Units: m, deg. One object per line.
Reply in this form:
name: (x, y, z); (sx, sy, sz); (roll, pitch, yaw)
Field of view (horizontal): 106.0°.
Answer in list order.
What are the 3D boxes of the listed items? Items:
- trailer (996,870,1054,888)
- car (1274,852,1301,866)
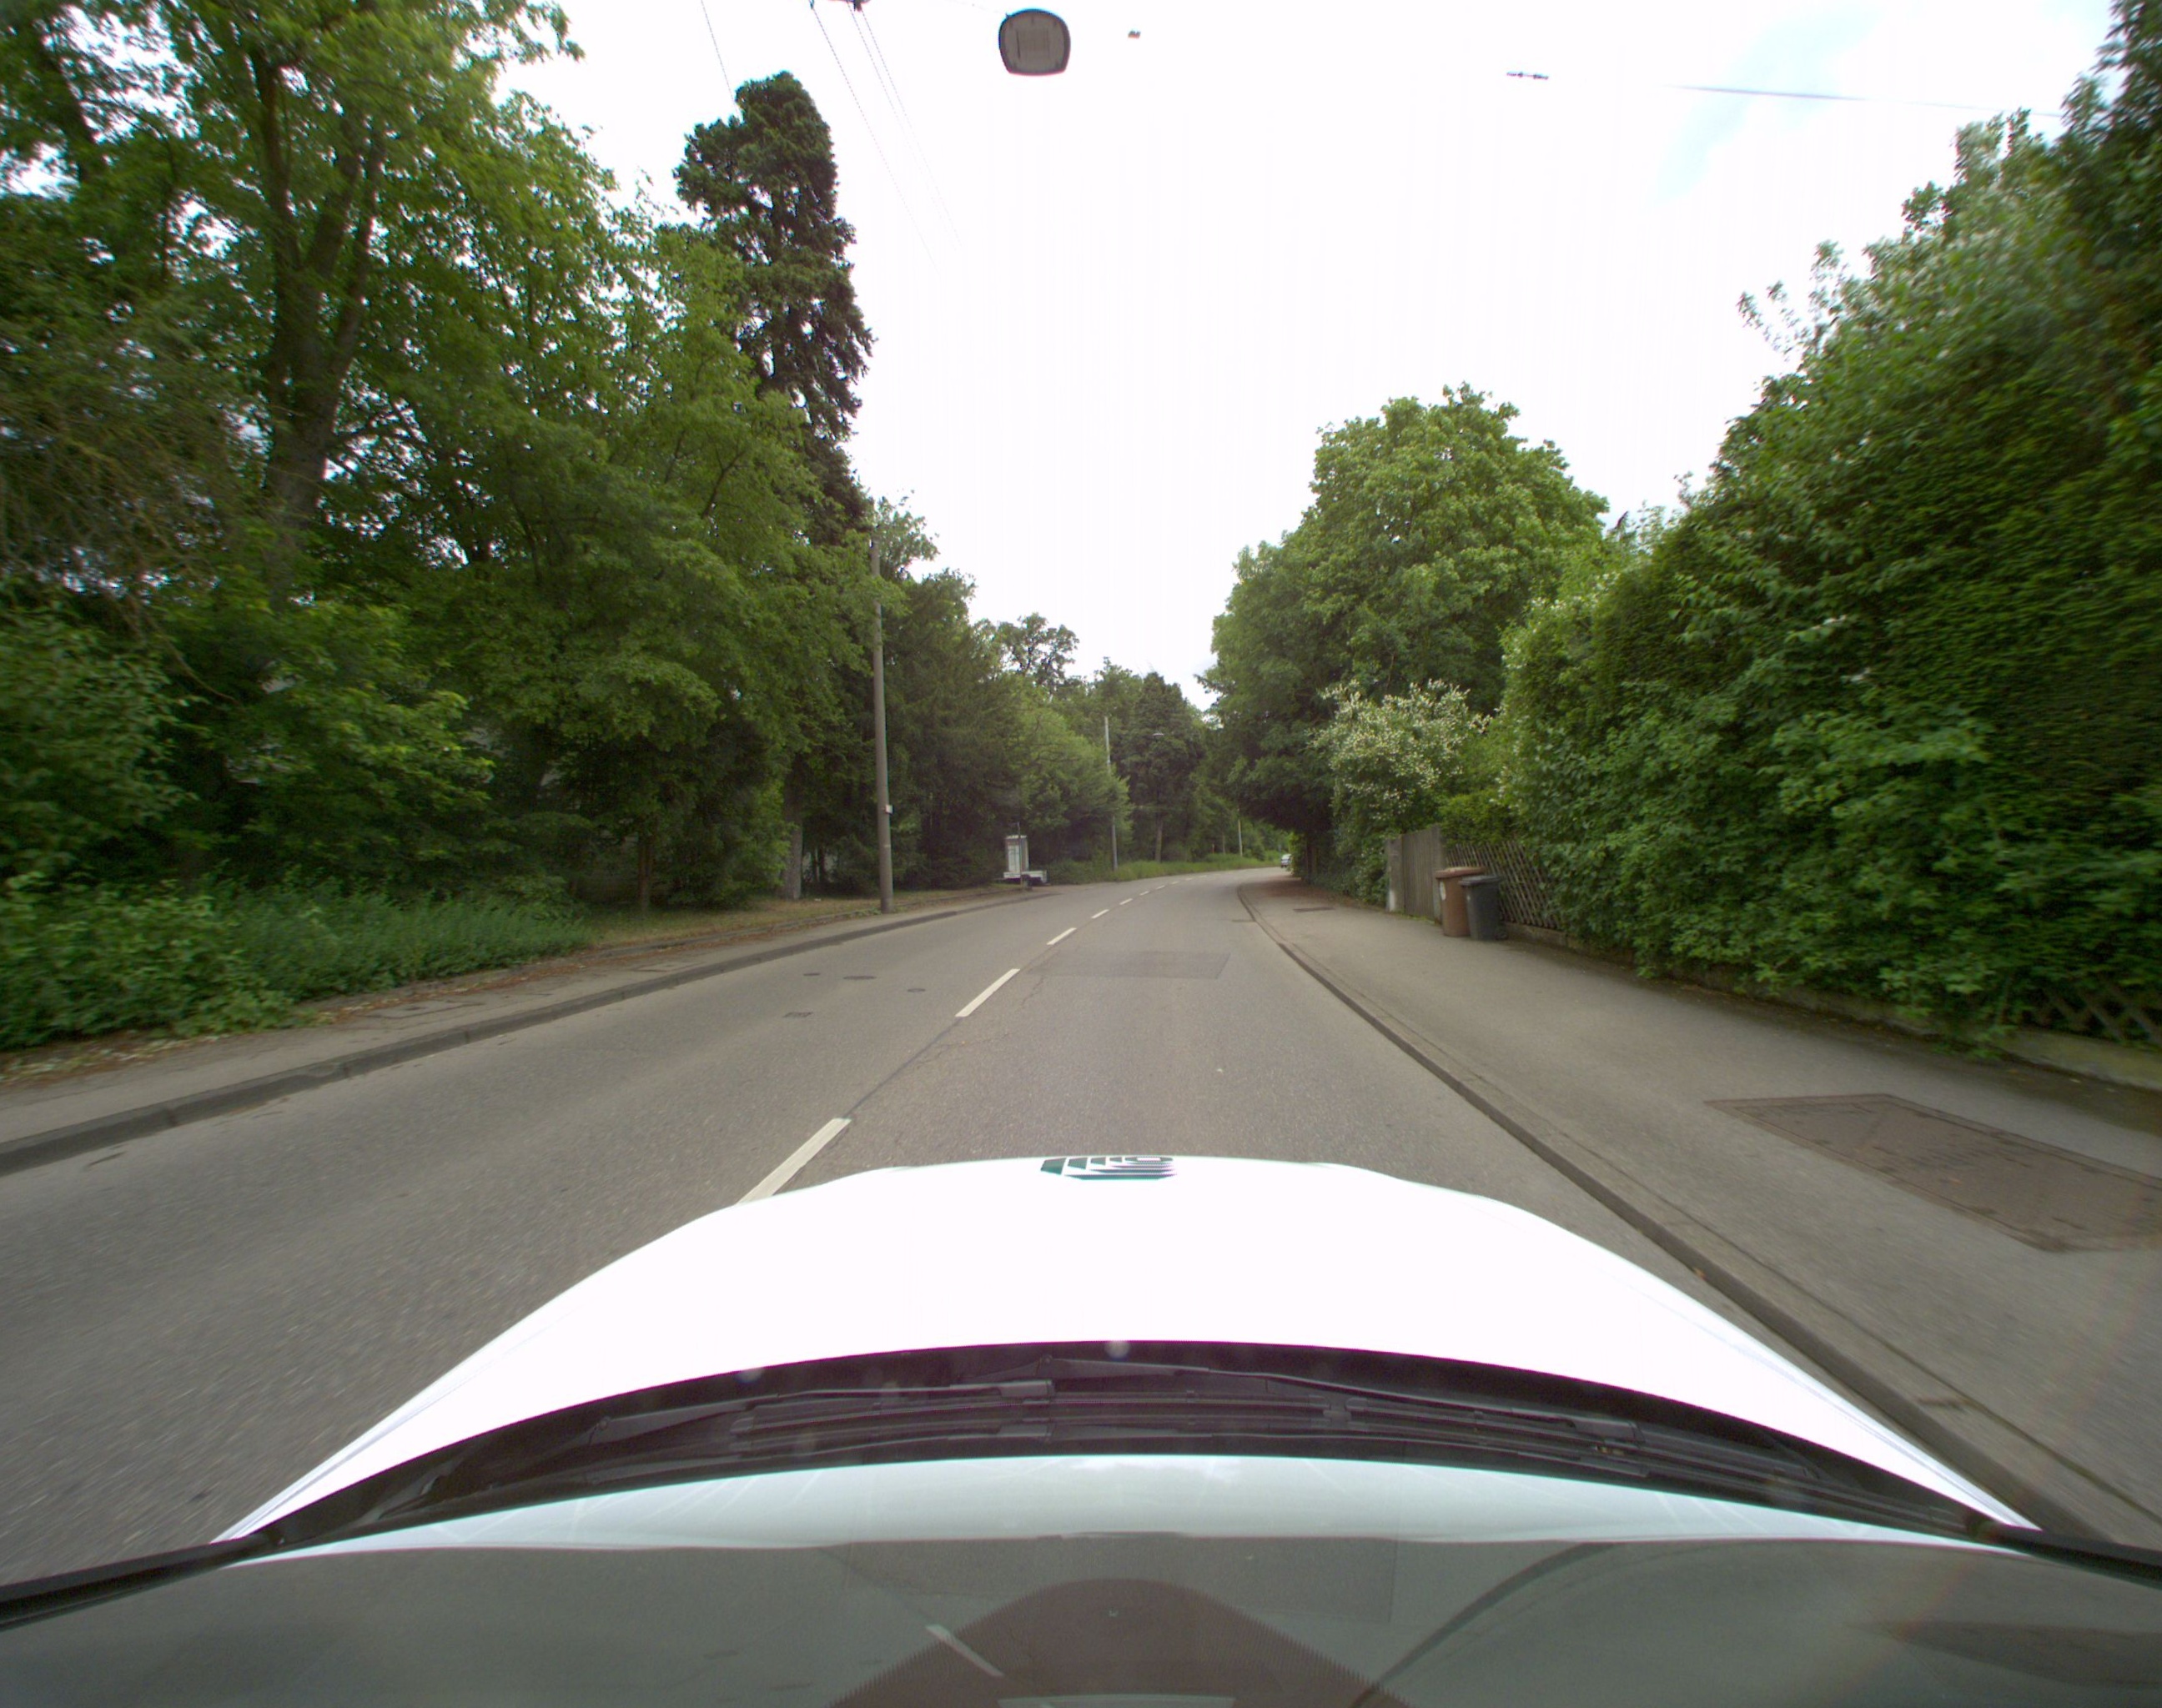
trailer: (-2.956, 1.337, 43.649); (2.945, 0.828, 1.476); (-2, -1, 0)
car: (22.335, 0.530, 87.956); (1.975, 1.486, 4.023); (-3, -1, 26)
